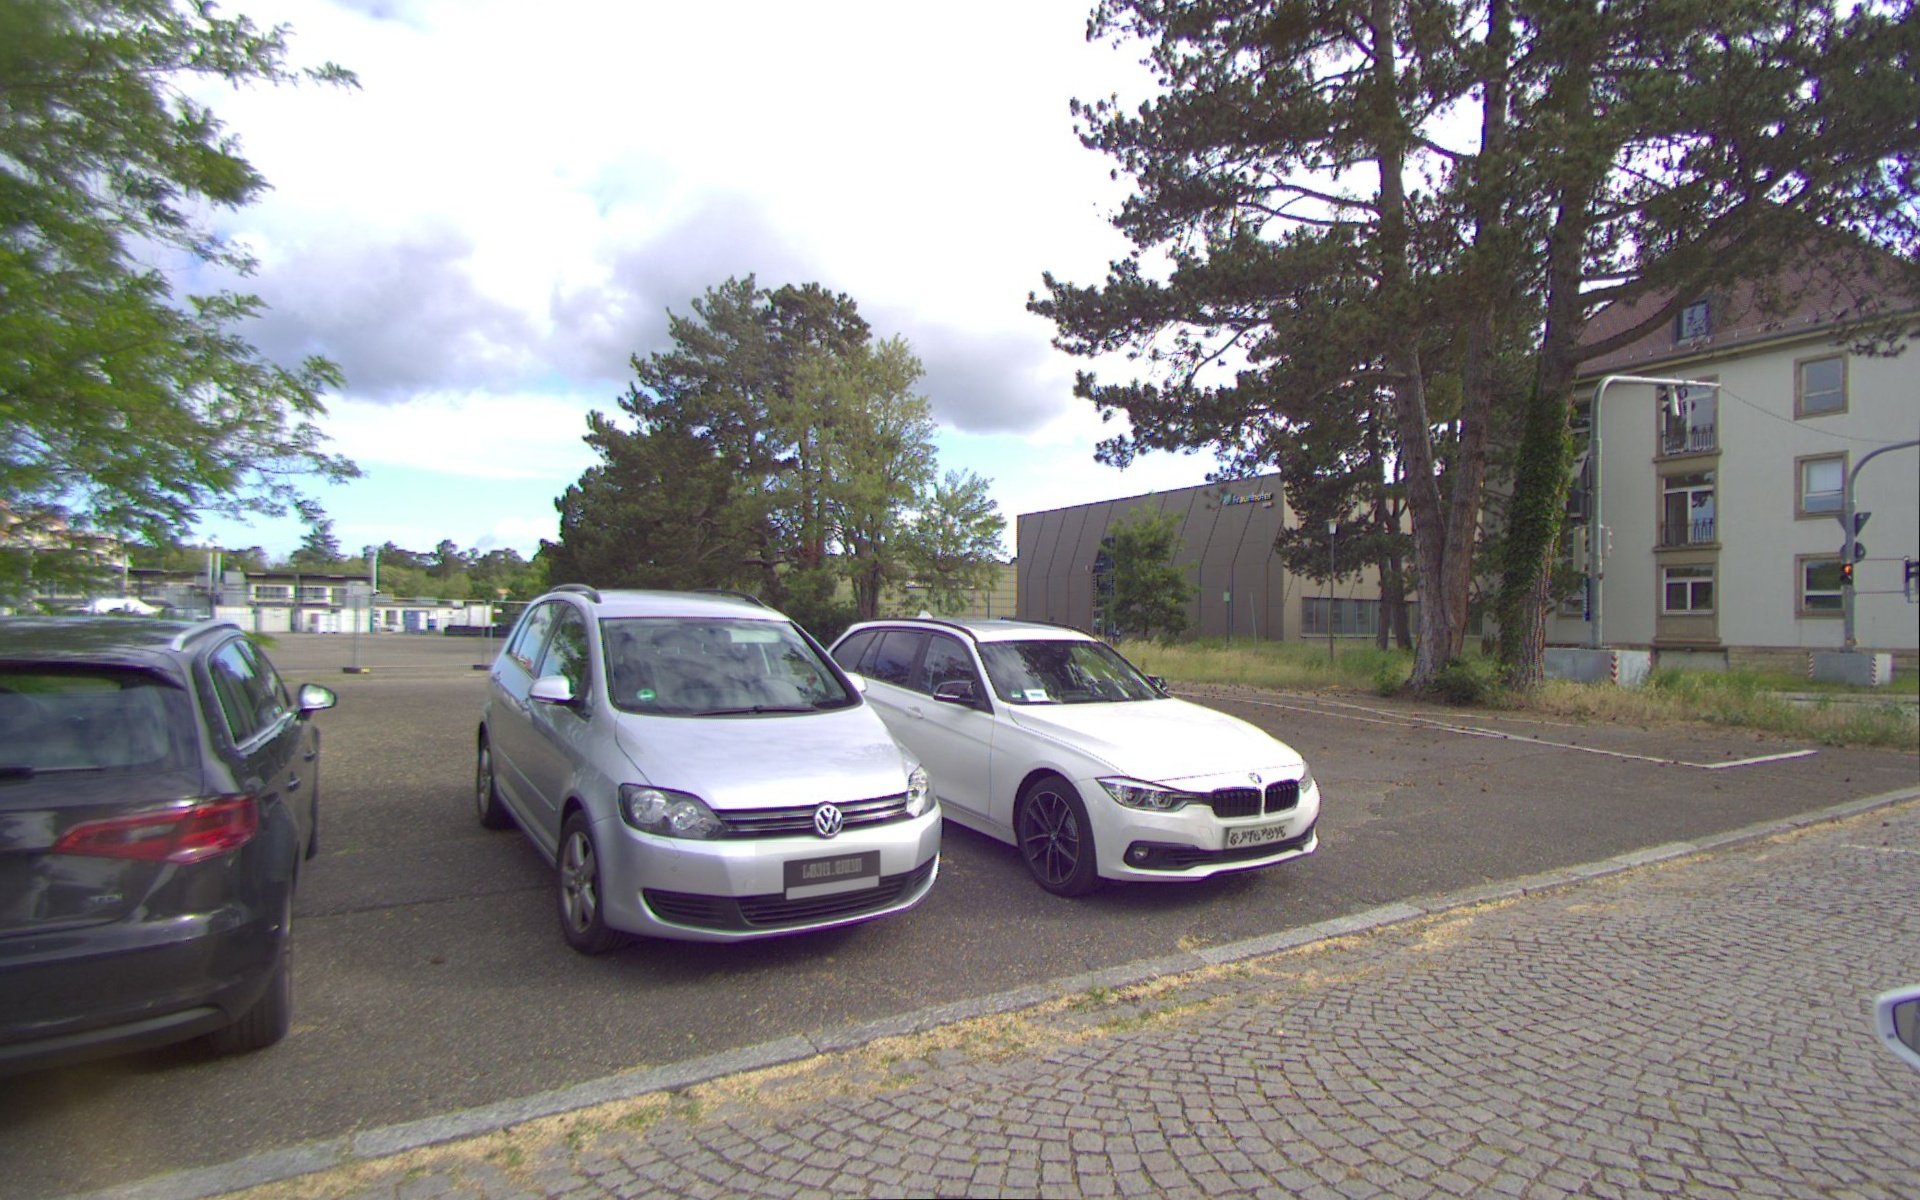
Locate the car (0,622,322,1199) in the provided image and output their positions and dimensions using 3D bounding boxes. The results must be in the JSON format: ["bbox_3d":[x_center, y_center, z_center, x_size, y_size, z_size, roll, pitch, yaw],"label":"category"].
[{"bbox_3d":[-3.861,0.821,4.308,1.865,1.441,4.594,1,-2,-32],"label":"car"}]

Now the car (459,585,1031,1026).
[{"bbox_3d":[-1.670,0.742,6.033,1.828,1.611,4.445,1,0,-34],"label":"car"}]

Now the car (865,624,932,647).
[{"bbox_3d":[-4.462,2.585,73.427,4.479,1.552,1.984,0,-1,-31],"label":"car"}]

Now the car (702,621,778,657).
[{"bbox_3d":[-9.800,1.684,44.528,1.905,1.496,4.329,2,-2,-33],"label":"car"}]

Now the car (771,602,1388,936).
[{"bbox_3d":[0.411,0.842,7.363,1.893,1.459,4.778,1,1,-32],"label":"car"}]

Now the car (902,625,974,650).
[{"bbox_3d":[-1.452,2.443,66.638,4.485,1.552,1.981,0,-1,-34],"label":"car"}]
